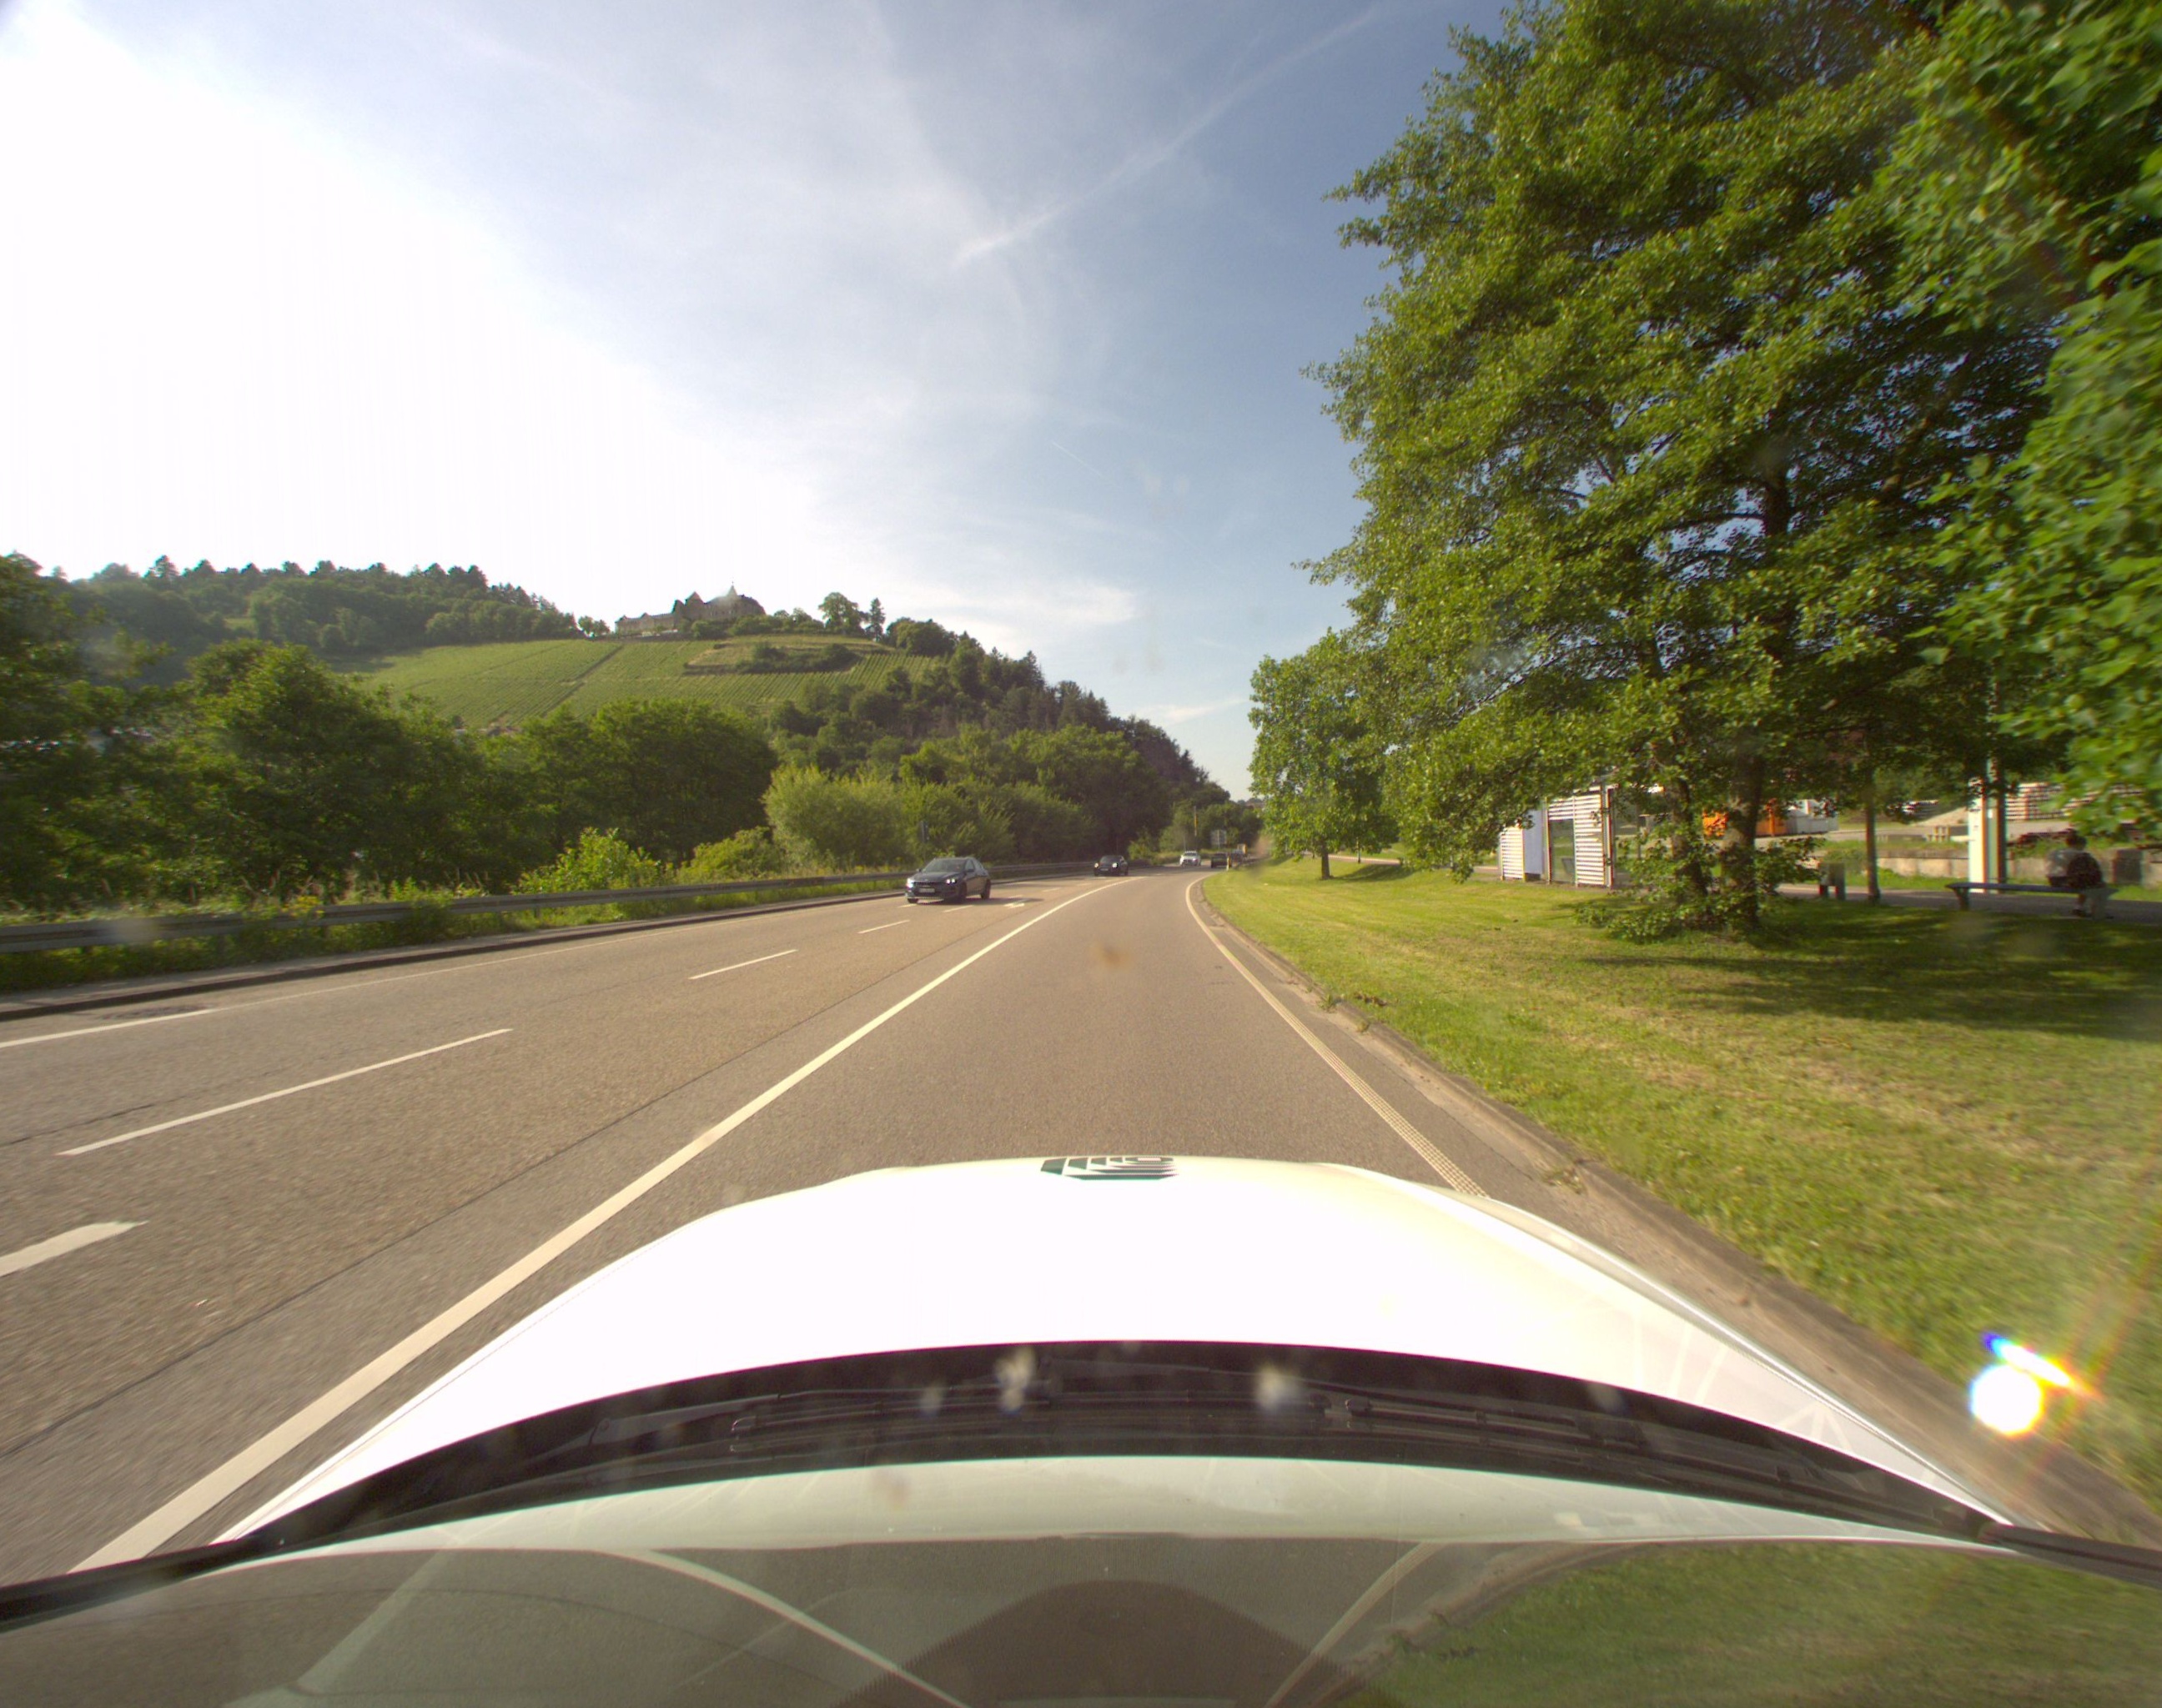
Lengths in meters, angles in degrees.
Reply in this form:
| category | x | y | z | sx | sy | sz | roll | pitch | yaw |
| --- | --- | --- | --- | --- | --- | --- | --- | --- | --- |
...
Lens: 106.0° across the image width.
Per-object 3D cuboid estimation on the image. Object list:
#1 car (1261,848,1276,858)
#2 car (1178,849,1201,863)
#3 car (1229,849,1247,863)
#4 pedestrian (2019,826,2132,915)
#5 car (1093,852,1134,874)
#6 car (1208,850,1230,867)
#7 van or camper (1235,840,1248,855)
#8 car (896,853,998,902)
| category | x | y | z | sx | sy | sz | roll | pitch | yaw |
| --- | --- | --- | --- | --- | --- | --- | --- | --- | --- |
| car | 30.202 | -0.134 | 131.381 | 1.791 | 1.453 | 3.666 | -3 | 0 | 21 |
| car | 11.971 | 0.209 | 89.637 | 1.931 | 1.486 | 4.603 | -1 | 1 | 15 |
| car | 18.821 | 0.242 | 97.469 | 1.826 | 1.459 | 3.728 | -3 | 0 | 15 |
| pedestrian | 13.693 | 0.219 | 11.235 | 0.631 | 1.161 | 0.729 | -3 | 0 | 13 |
| car | 2.276 | 0.581 | 55.598 | 1.680 | 1.402 | 4.221 | -1 | 0 | 18 |
| car | 13.225 | 0.440 | 77.928 | 1.716 | 1.457 | 3.423 | -3 | 0 | 13 |
| van or camper | 25.992 | -1.099 | 131.988 | 1.590 | 2.328 | 4.077 | 0 | 1 | 17 |
| car | -4.321 | 0.700 | 27.045 | 1.839 | 1.469 | 4.557 | 0 | 0 | 12 |
